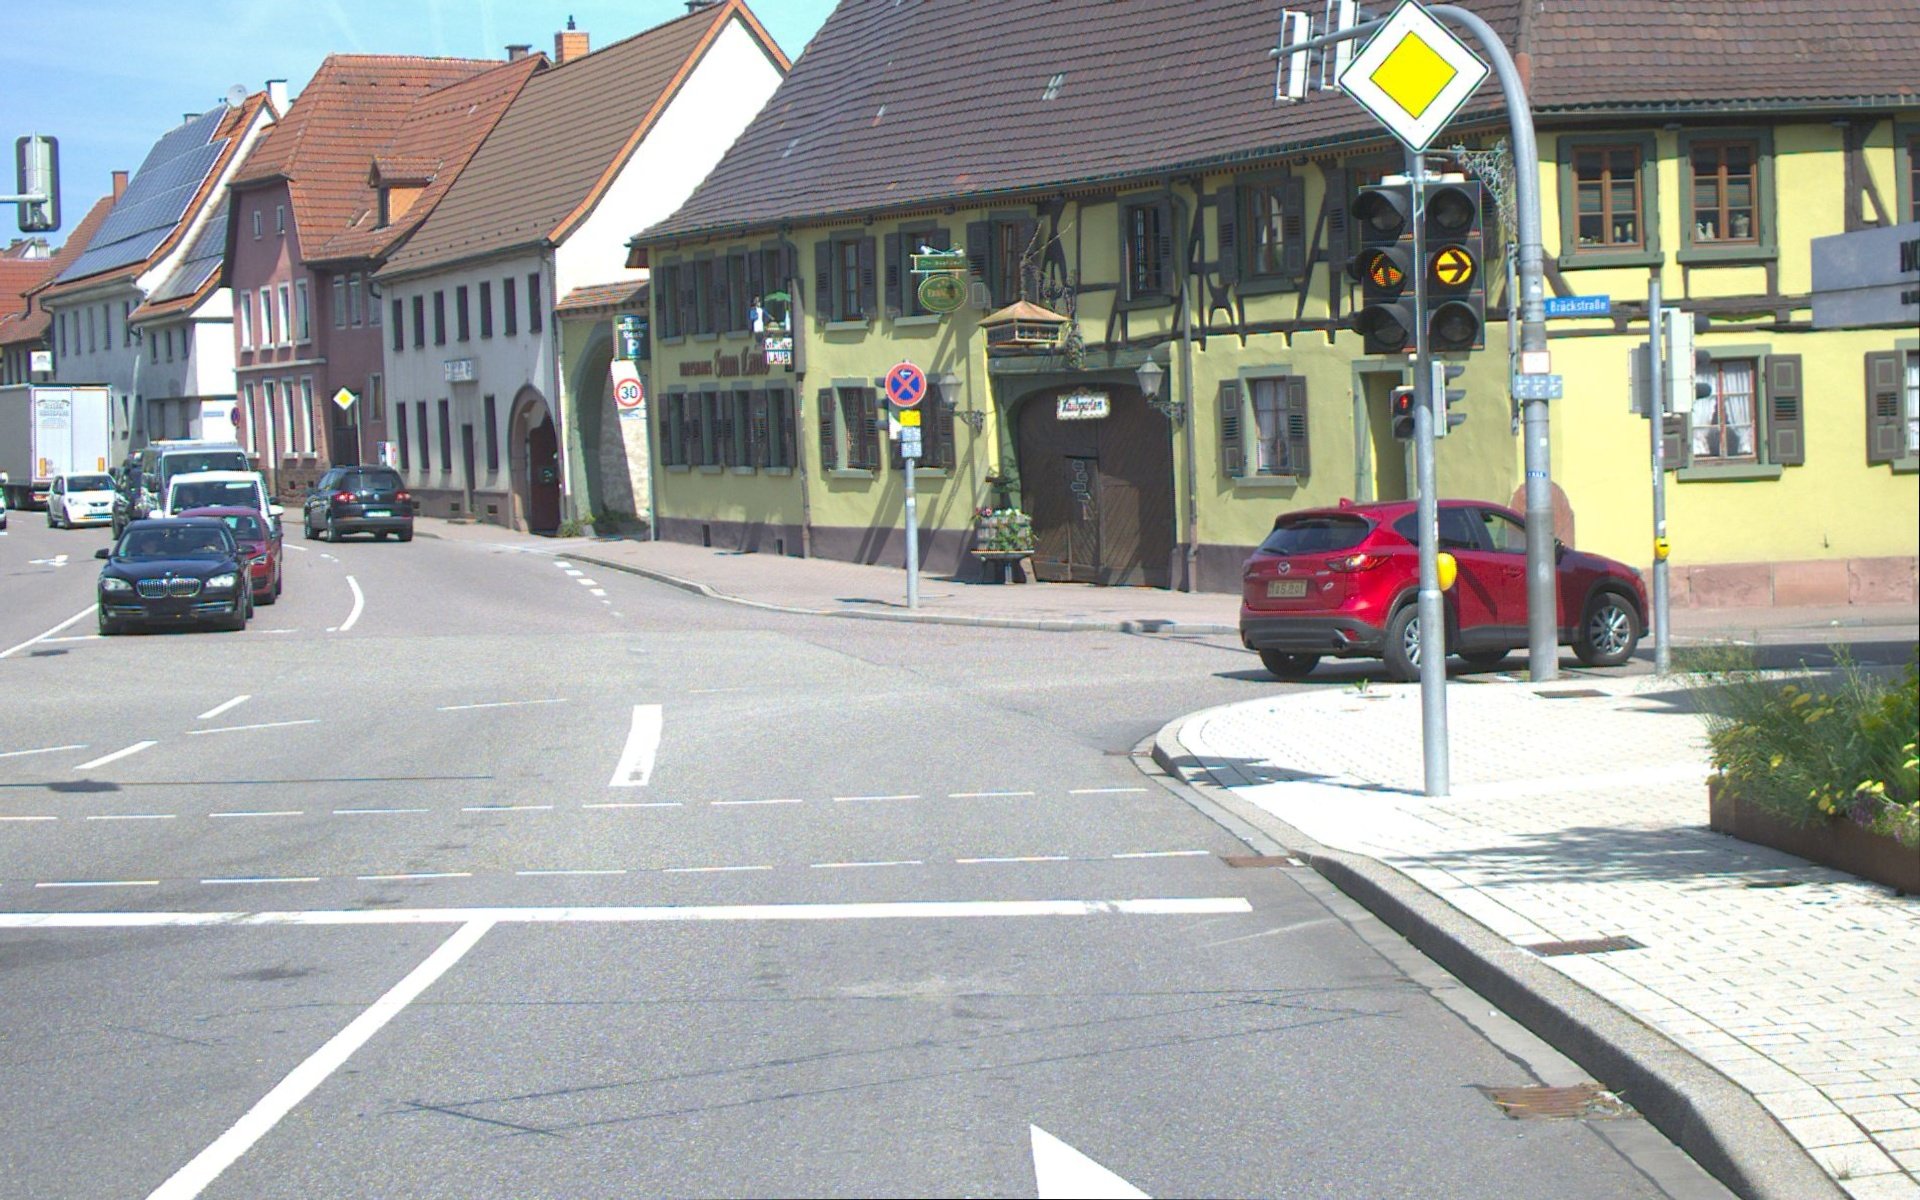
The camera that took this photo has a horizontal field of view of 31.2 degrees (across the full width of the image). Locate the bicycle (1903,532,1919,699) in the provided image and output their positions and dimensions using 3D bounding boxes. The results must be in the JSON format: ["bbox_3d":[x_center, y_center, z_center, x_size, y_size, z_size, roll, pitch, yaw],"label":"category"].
[{"bbox_3d":[7.982,0.081,25.460,1.803,1.230,0.549,-2,2,-1],"label":"bicycle"}]

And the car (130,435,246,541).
[{"bbox_3d":[-16.846,-2.462,74.876,1.757,2.238,4.554,0,2,-22],"label":"car"}]

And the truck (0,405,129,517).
[{"bbox_3d":[-30.105,-4.555,112.857,3.223,3.537,9.232,-1,2,-29],"label":"truck"}]

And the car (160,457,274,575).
[{"bbox_3d":[-13.187,-1.528,61.004,1.820,1.899,4.966,-2,3,-12],"label":"car"}]

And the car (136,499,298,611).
[{"bbox_3d":[-11.524,-0.747,53.619,2.158,1.510,4.949,-1,3,-9],"label":"car"}]

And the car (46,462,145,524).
[{"bbox_3d":[-22.963,-2.849,91.233,1.785,1.521,4.006,-4,3,-24],"label":"car"}]

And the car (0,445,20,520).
[{"bbox_3d":[-26.852,-3.154,93.214,2.136,1.960,5.280,-3,3,-20],"label":"car"}]

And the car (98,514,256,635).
[{"bbox_3d":[-10.511,-0.387,46.376,1.820,1.429,4.250,-2,3,-10],"label":"car"}]

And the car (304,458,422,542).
[{"bbox_3d":[-13.202,-2.229,75.904,1.820,1.732,4.007,-3,3,-20],"label":"car"}]

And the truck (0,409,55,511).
[{"bbox_3d":[-34.977,-4.896,121.583,3.159,3.448,10.713,0,2,-29],"label":"truck"}]

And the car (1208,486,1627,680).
[{"bbox_3d":[4.366,-0.196,32.558,3.801,1.657,1.810,-3,2,-40],"label":"car"}]
